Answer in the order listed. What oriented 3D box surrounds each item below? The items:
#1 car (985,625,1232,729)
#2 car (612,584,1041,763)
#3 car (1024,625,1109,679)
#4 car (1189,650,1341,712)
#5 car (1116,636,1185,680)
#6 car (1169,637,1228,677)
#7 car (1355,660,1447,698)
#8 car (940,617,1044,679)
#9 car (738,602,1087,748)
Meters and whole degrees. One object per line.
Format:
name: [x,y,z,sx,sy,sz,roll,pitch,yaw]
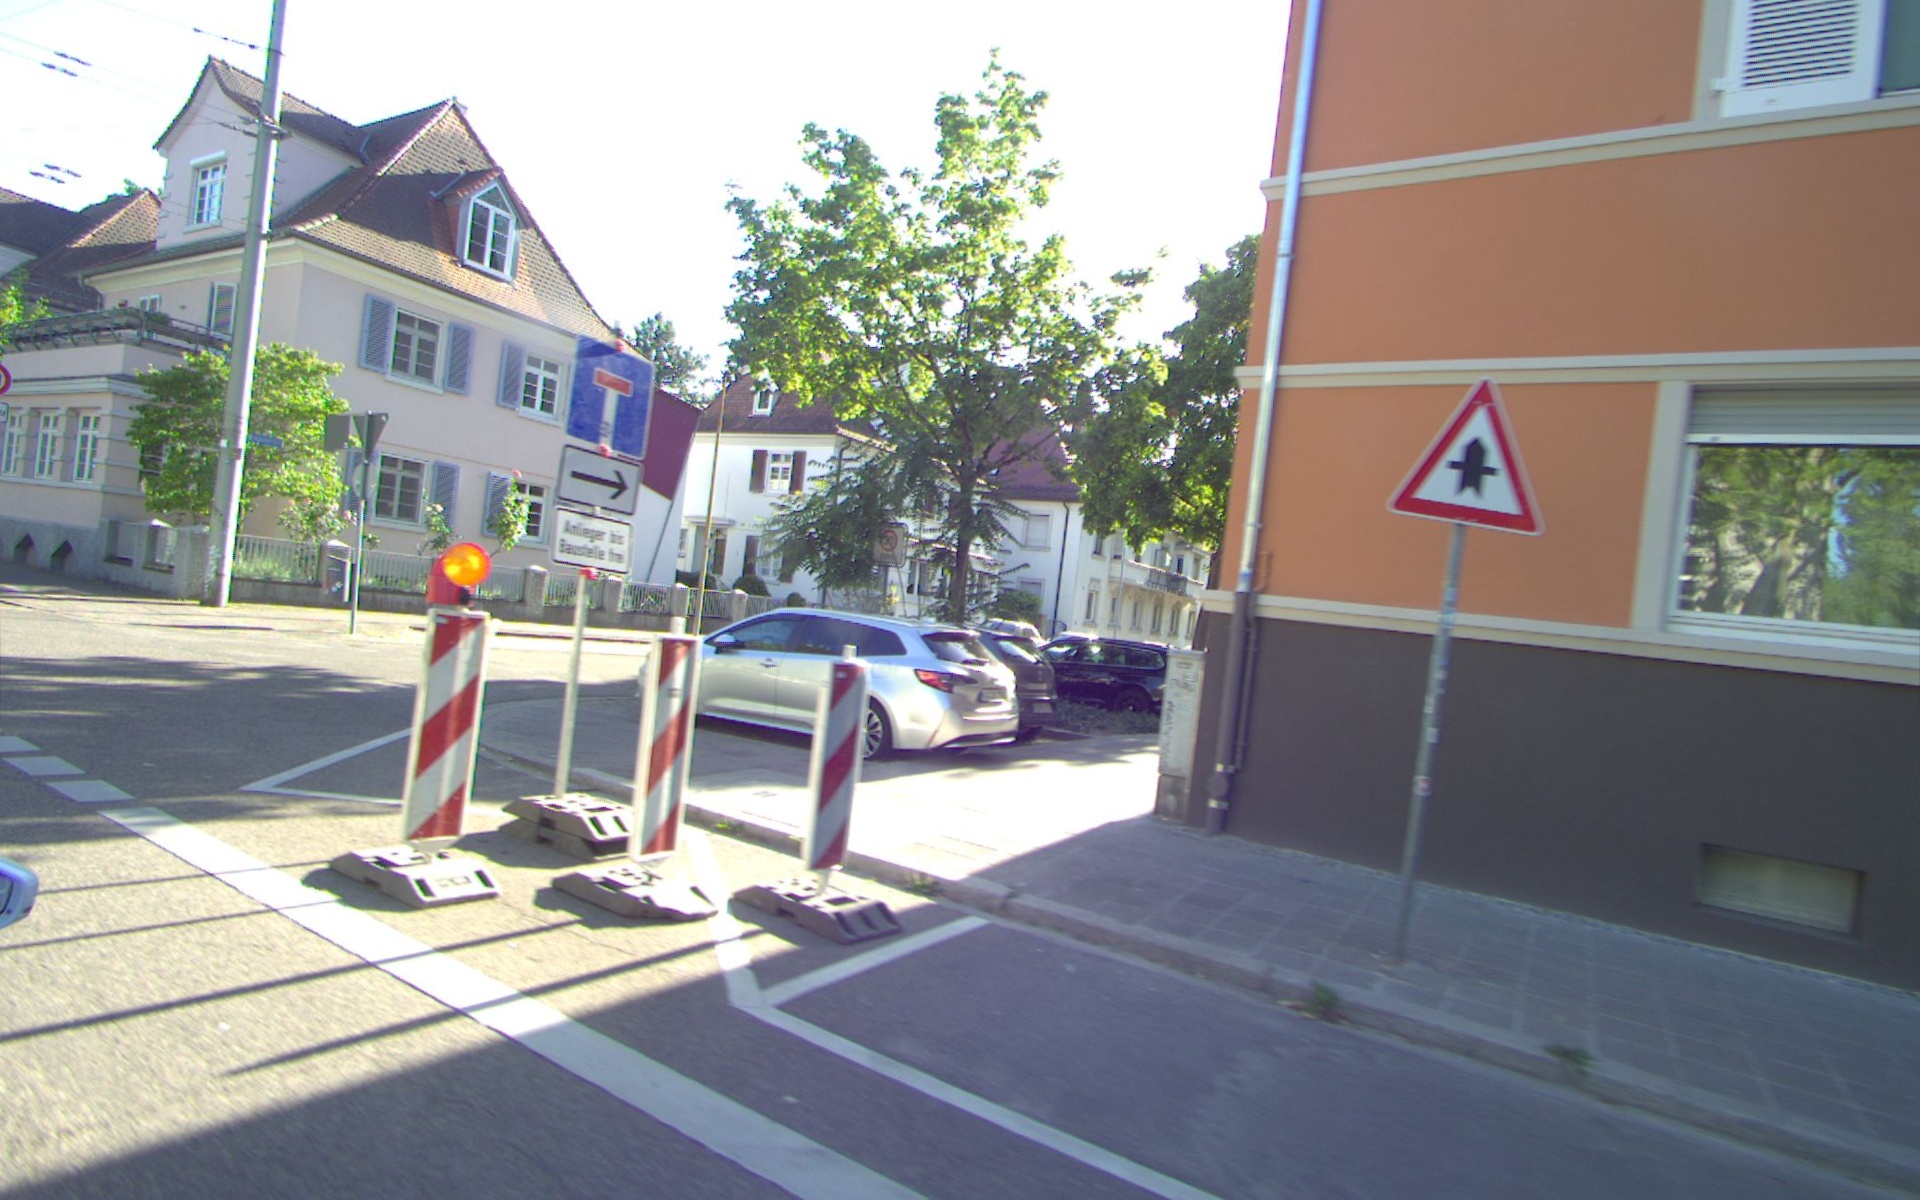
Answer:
car: [2.652,1.336,18.236,4.019,1.437,1.705,4,-1,30]
car: [-1.535,0.697,10.955,4.441,1.406,1.705,4,-1,30]
car: [4.279,2.078,39.754,1.877,1.669,4.000,7,-2,27]
car: [9.208,2.405,30.468,4.021,1.406,1.704,4,-1,32]
car: [9.173,2.817,48.221,1.878,1.669,3.998,7,-2,30]
car: [12.824,3.067,53.998,1.878,1.669,3.998,7,-2,30]
car: [22.687,4.041,51.843,4.023,1.532,1.703,4,-1,35]
car: [1.178,1.697,34.747,1.877,1.669,4.000,7,-2,27]
car: [-0.706,0.942,13.764,4.441,1.476,1.776,4,-1,30]
